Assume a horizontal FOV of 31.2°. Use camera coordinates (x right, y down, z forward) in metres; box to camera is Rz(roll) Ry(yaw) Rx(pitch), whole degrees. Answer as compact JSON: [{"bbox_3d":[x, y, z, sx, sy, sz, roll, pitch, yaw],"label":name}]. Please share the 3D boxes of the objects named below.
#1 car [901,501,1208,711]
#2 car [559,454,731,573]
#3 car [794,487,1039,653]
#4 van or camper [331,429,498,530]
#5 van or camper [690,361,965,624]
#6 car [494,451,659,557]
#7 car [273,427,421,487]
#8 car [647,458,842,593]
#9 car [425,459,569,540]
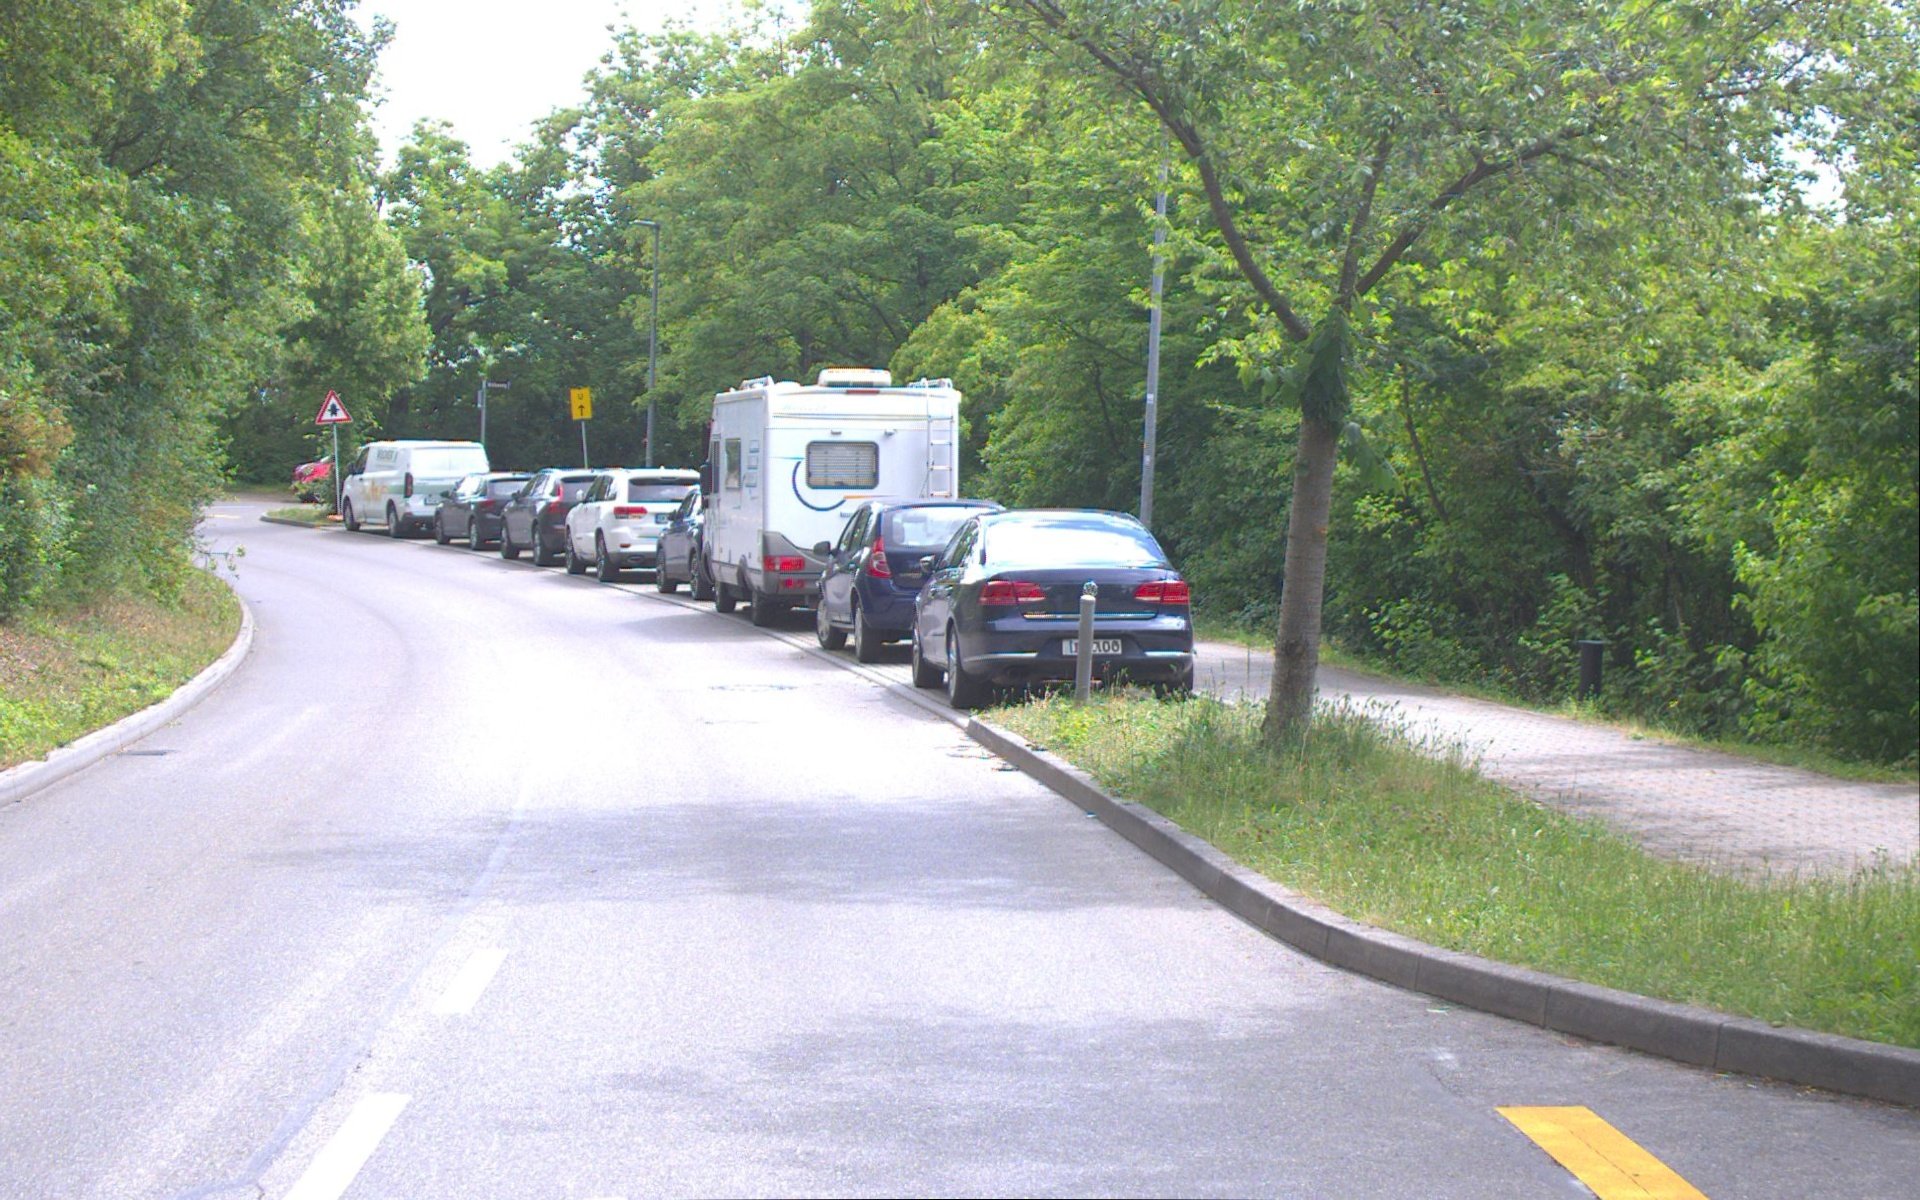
[{"bbox_3d":[0.641,-0.023,26.569,1.775,1.429,4.335,0,2,-6],"label":"car"},{"bbox_3d":[-4.988,-1.394,53.953,1.871,1.683,4.581,1,3,-15],"label":"car"},{"bbox_3d":[-0.485,-0.319,33.644,1.728,1.514,3.890,-1,1,-11],"label":"car"},{"bbox_3d":[-11.394,-2.555,71.502,1.993,1.913,5.267,-2,4,-25],"label":"van or camper"},{"bbox_3d":[-1.701,-1.309,41.107,2.332,2.859,6.153,1,2,-11],"label":"van or camper"},{"bbox_3d":[-6.698,-1.700,59.640,1.993,1.620,4.280,-3,4,-18],"label":"car"},{"bbox_3d":[-16.215,-3.777,90.922,3.535,1.475,1.783,-1,5,-23],"label":"car"},{"bbox_3d":[-3.004,-1.068,47.152,1.710,1.585,4.002,-7,4,-15],"label":"car"},{"bbox_3d":[-8.940,-1.957,66.154,1.797,1.459,4.002,0,3,-22],"label":"car"}]
